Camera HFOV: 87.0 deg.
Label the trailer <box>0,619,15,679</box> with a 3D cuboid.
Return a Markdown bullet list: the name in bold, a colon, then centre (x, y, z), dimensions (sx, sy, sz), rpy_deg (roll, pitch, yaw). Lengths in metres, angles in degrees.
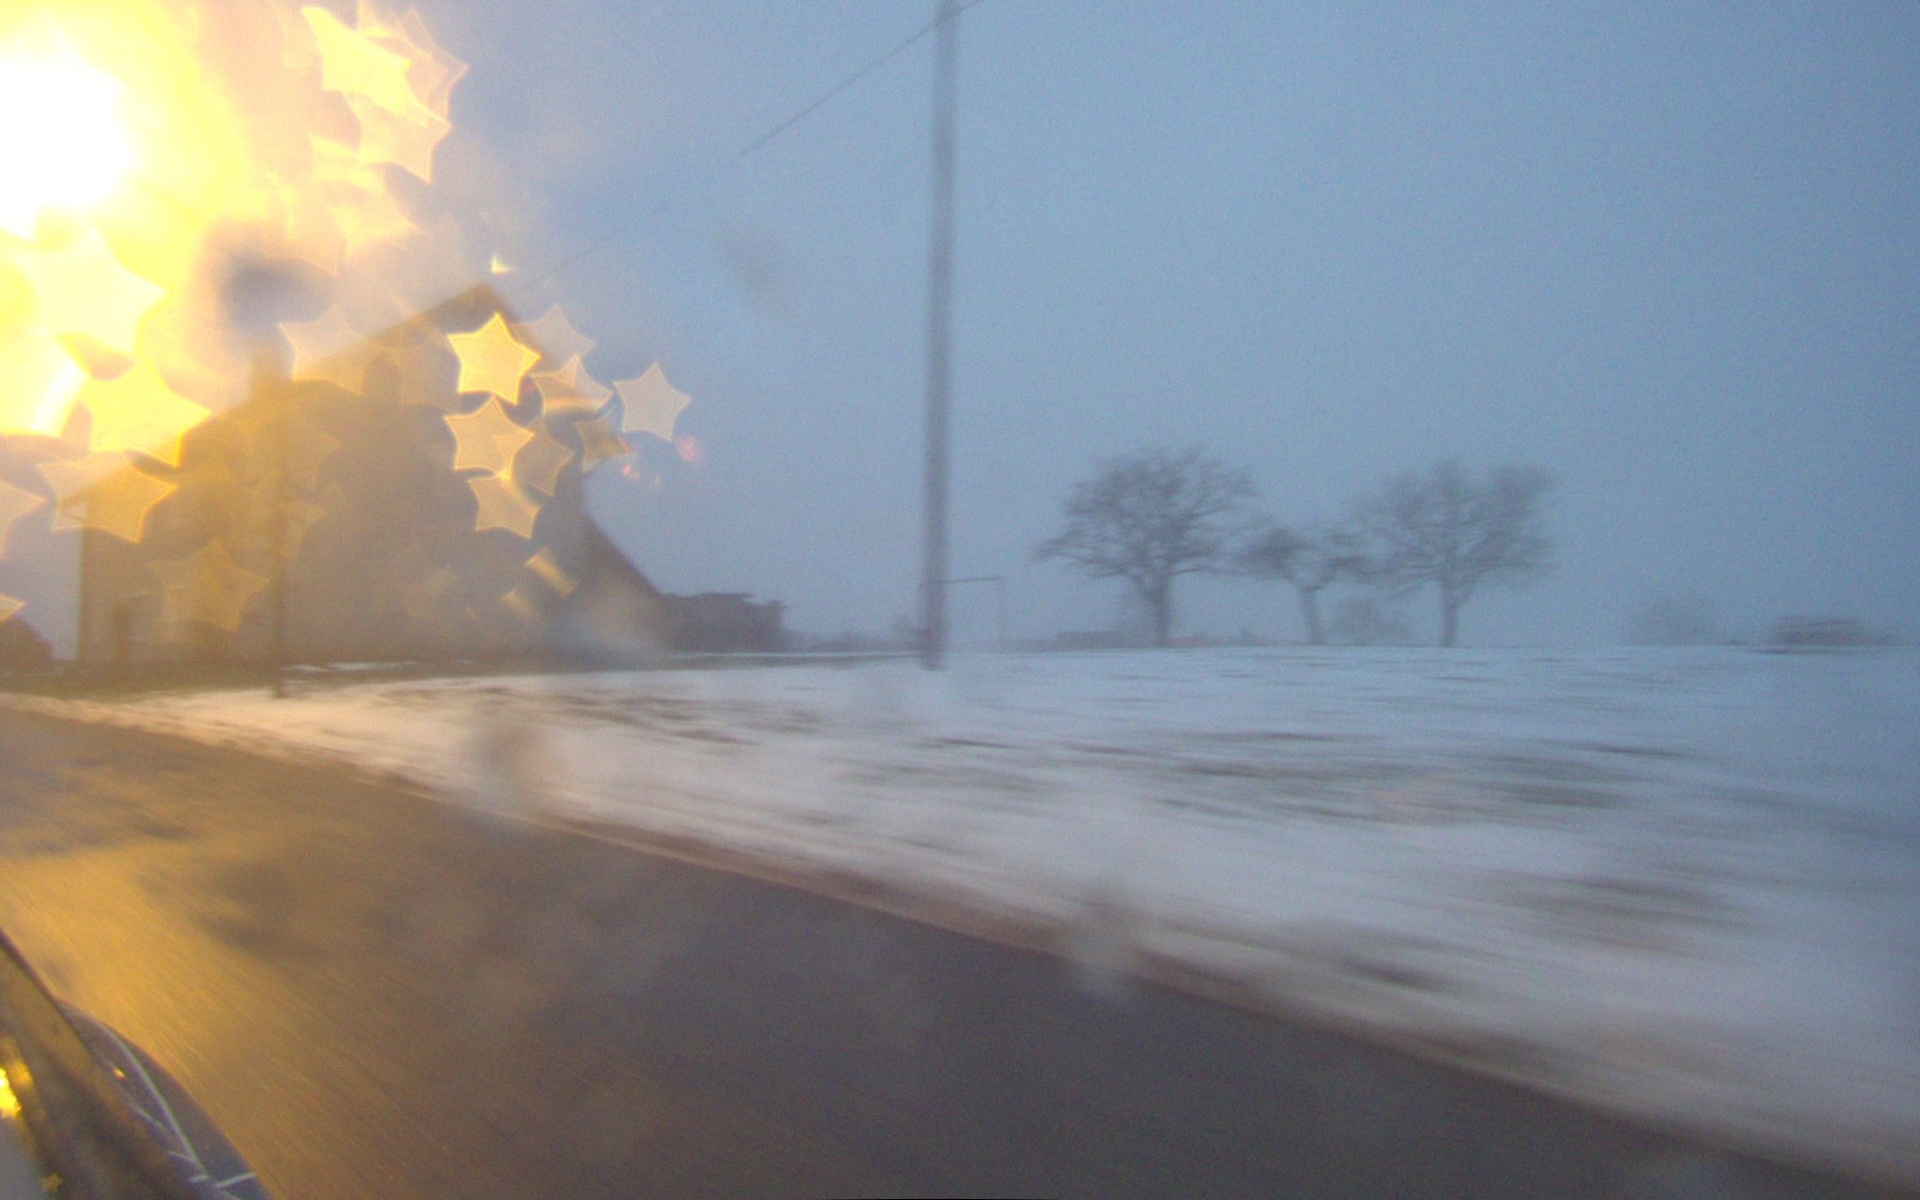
- **trailer**: centre (-42.980, 2.177, 44.079), dimensions (4.005, 2.509, 1.974), rpy_deg (-5, -8, 39)
